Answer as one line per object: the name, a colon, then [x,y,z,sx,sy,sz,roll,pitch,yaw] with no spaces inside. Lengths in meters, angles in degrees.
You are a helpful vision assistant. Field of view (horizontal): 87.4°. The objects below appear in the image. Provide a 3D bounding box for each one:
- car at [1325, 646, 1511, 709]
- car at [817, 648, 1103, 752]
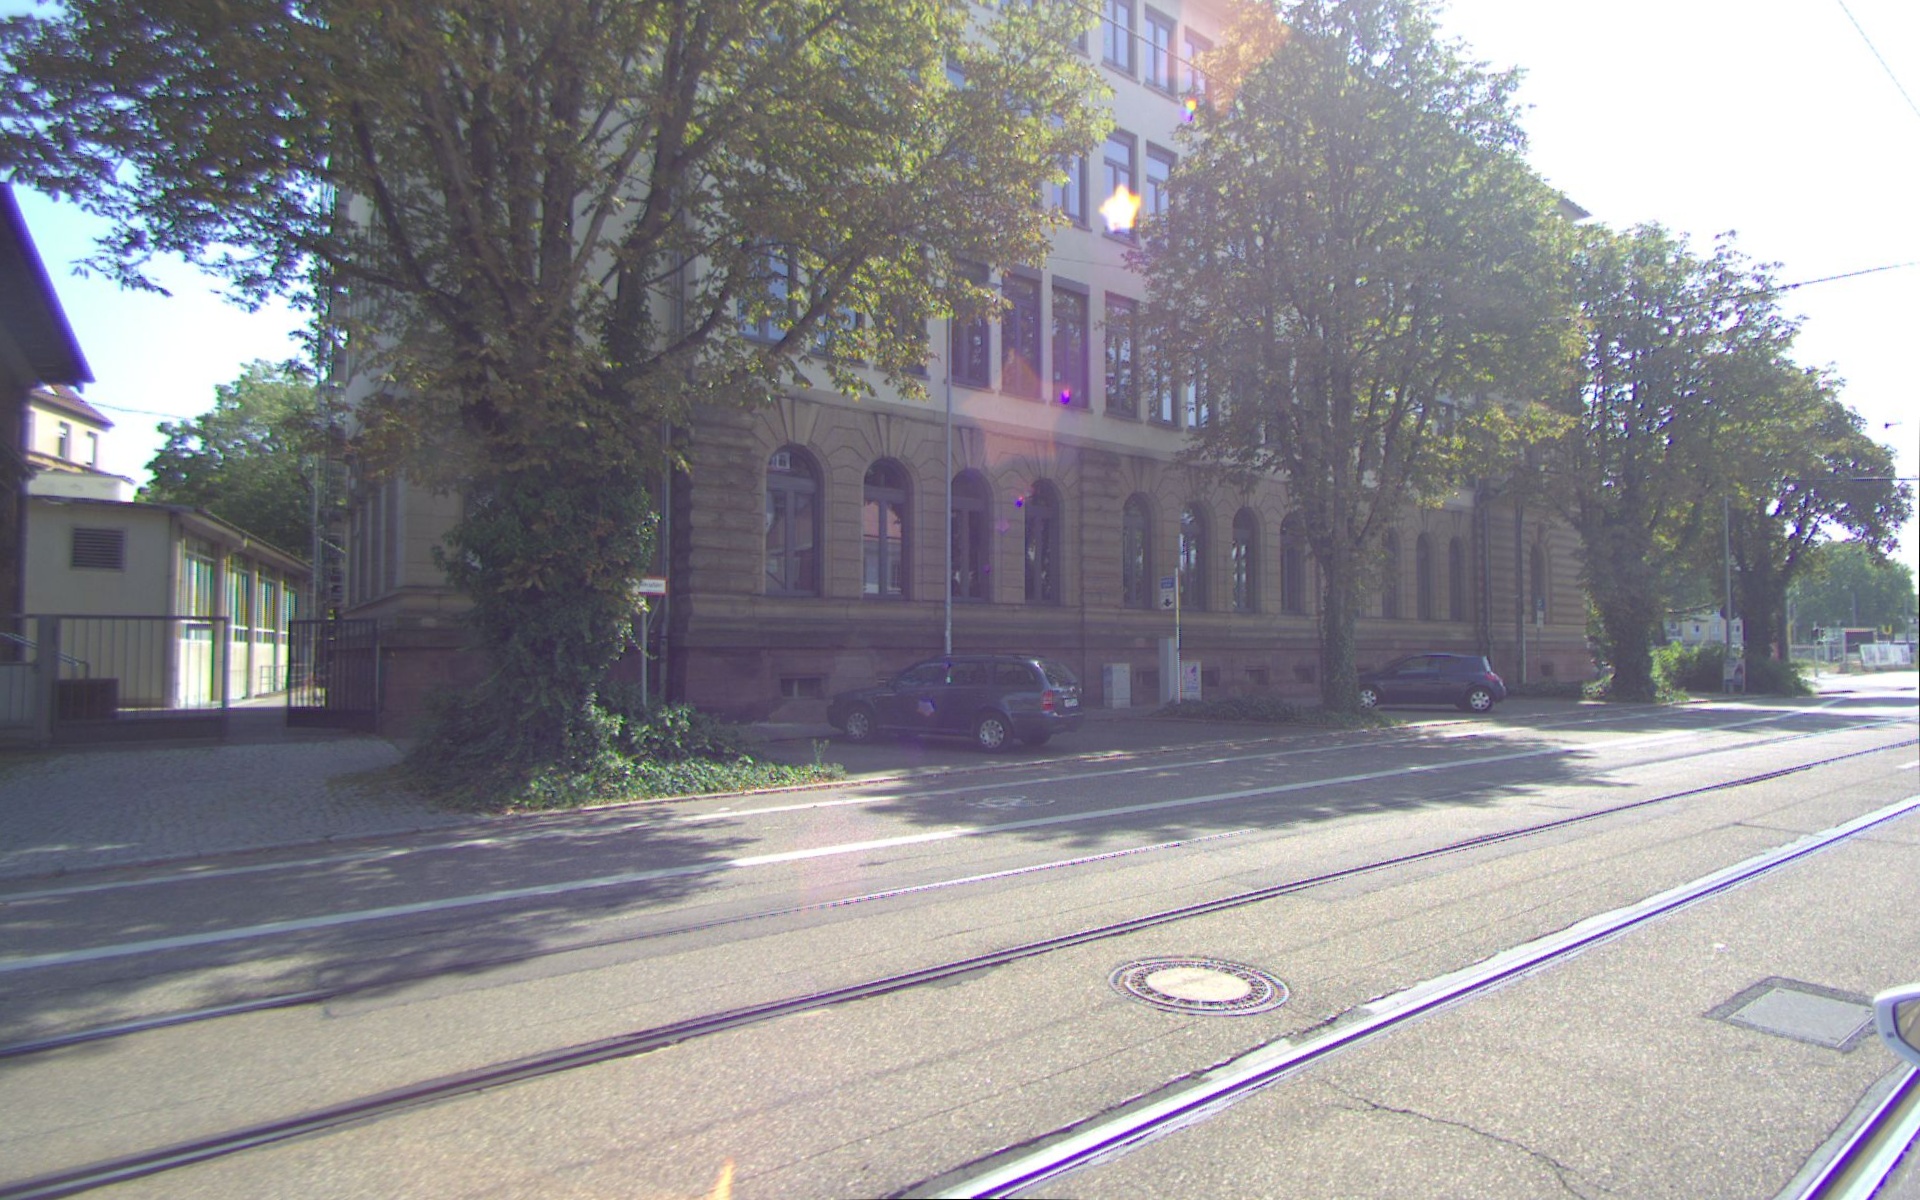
car: [11.620,1.966,25.775,4.080,1.515,1.822,-1,-3,16]
car: [-0.020,1.542,16.450,4.348,1.481,1.819,-1,-3,27]
